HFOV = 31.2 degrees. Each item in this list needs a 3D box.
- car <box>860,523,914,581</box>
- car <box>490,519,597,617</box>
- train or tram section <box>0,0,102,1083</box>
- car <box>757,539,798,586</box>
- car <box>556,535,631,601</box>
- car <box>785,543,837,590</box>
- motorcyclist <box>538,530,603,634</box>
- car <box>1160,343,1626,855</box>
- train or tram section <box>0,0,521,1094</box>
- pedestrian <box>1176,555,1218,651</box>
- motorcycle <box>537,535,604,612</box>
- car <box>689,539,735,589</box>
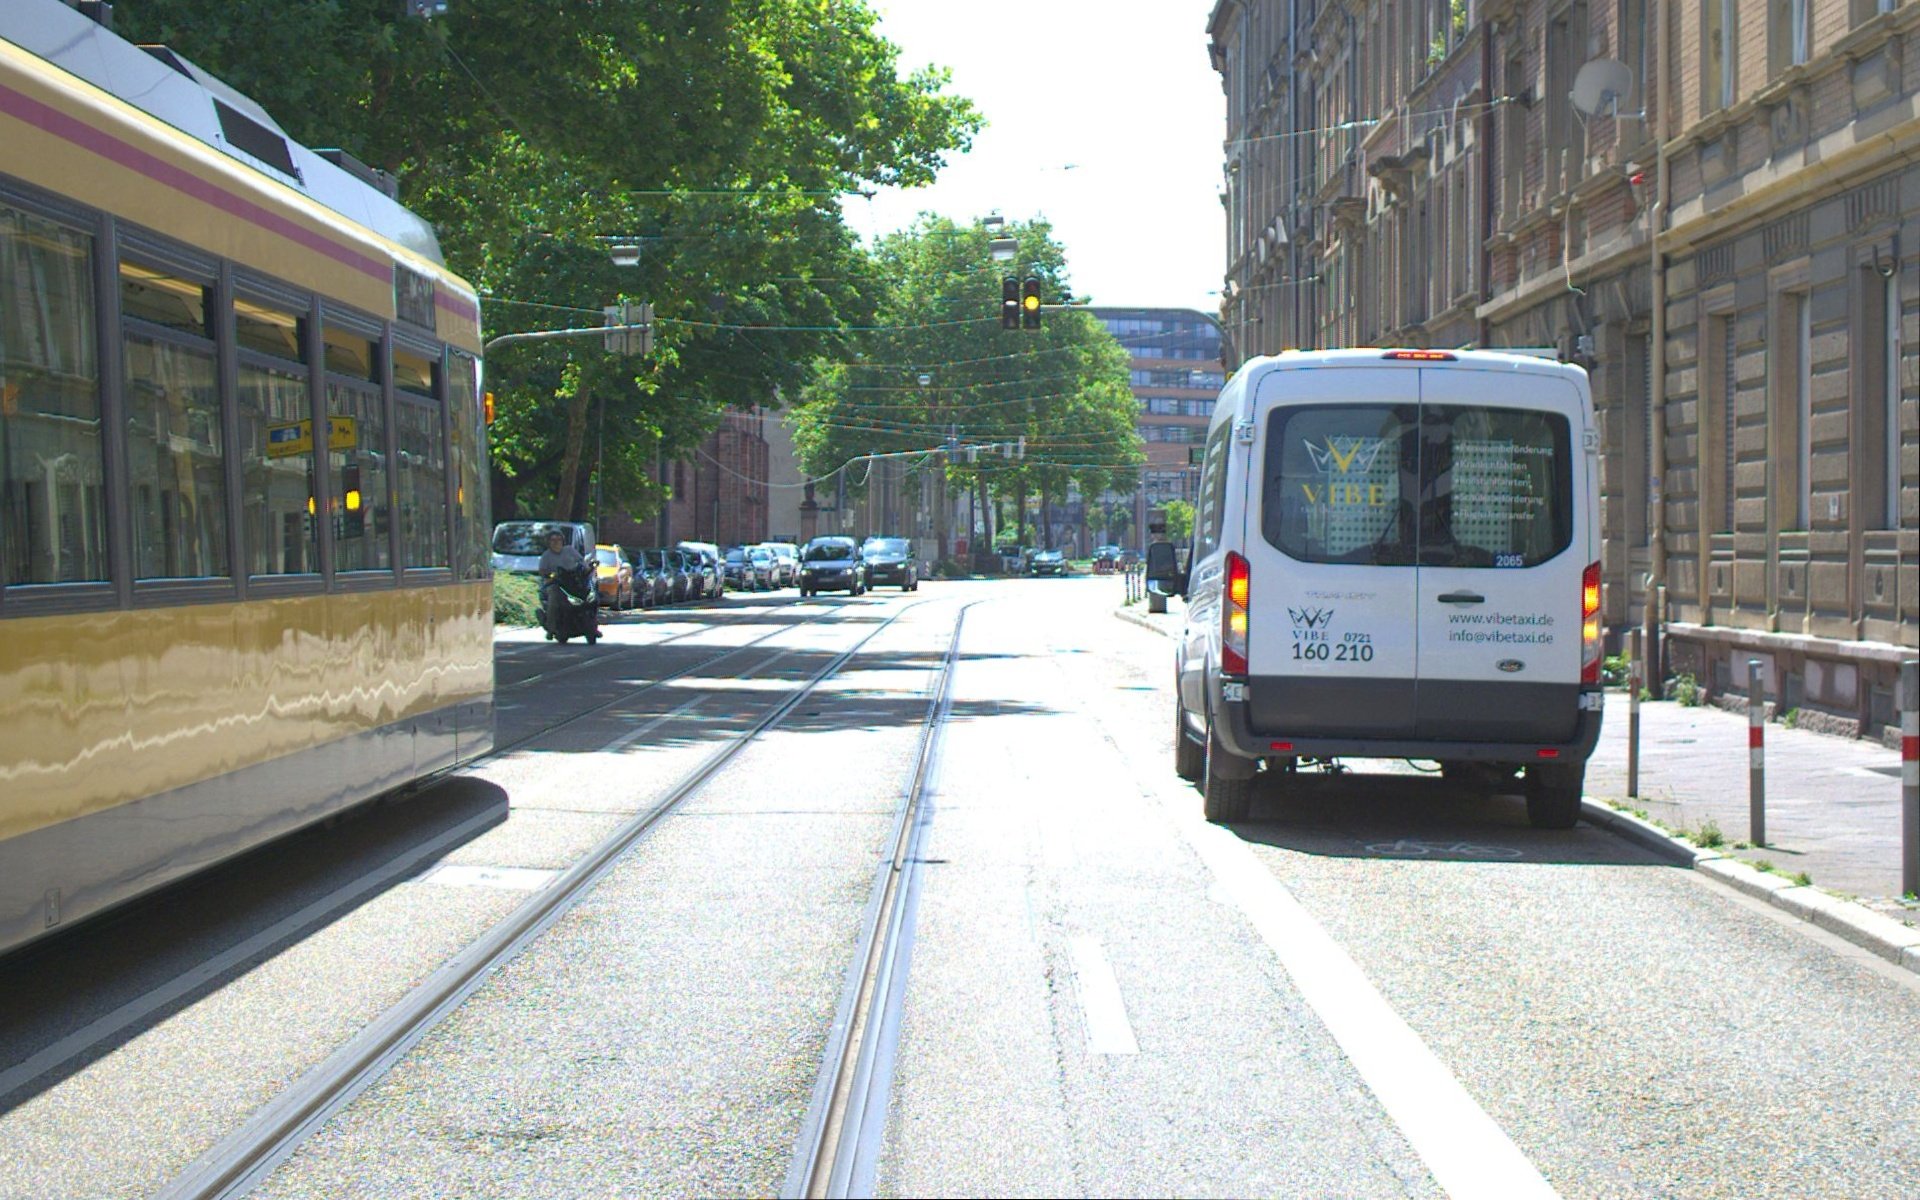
[{"bbox_3d":[-2.442,-1.591,114.267,1.674,1.853,4.001,1,1,-2],"label":"car"},{"bbox_3d":[-8.491,-0.670,70.382,1.800,1.916,4.000,1,1,-2],"label":"car"},{"bbox_3d":[-4.138,-0.348,3.942,2.960,3.568,13.424,0,1,0],"label":"train or tram section"},{"bbox_3d":[-6.921,-1.426,130.487,1.454,1.725,3.194,1,1,-2],"label":"car"},{"bbox_3d":[-8.584,-0.770,80.613,1.454,1.491,3.663,1,1,-2],"label":"car"},{"bbox_3d":[-4.595,-1.036,106.493,1.528,1.404,3.490,1,1,-2],"label":"car"},{"bbox_3d":[-5.821,-0.275,51.360,0.940,1.527,0.501,1,1,-7],"label":"motorcyclist"},{"bbox_3d":[2.301,-0.053,19.770,2.067,2.492,5.454,1,1,1],"label":"car"},{"bbox_3d":[-4.160,-0.492,14.249,2.960,3.568,13.424,0,1,0],"label":"train or tram section"},{"bbox_3d":[3.835,0.041,55.638,0.618,1.533,0.464,1,1,-1],"label":"pedestrian"},{"bbox_3d":[-5.793,-0.397,51.089,0.948,1.110,1.603,1,1,-7],"label":"motorcycle"},{"bbox_3d":[-8.646,-1.267,119.895,1.454,1.725,3.194,1,1,-2],"label":"car"}]
